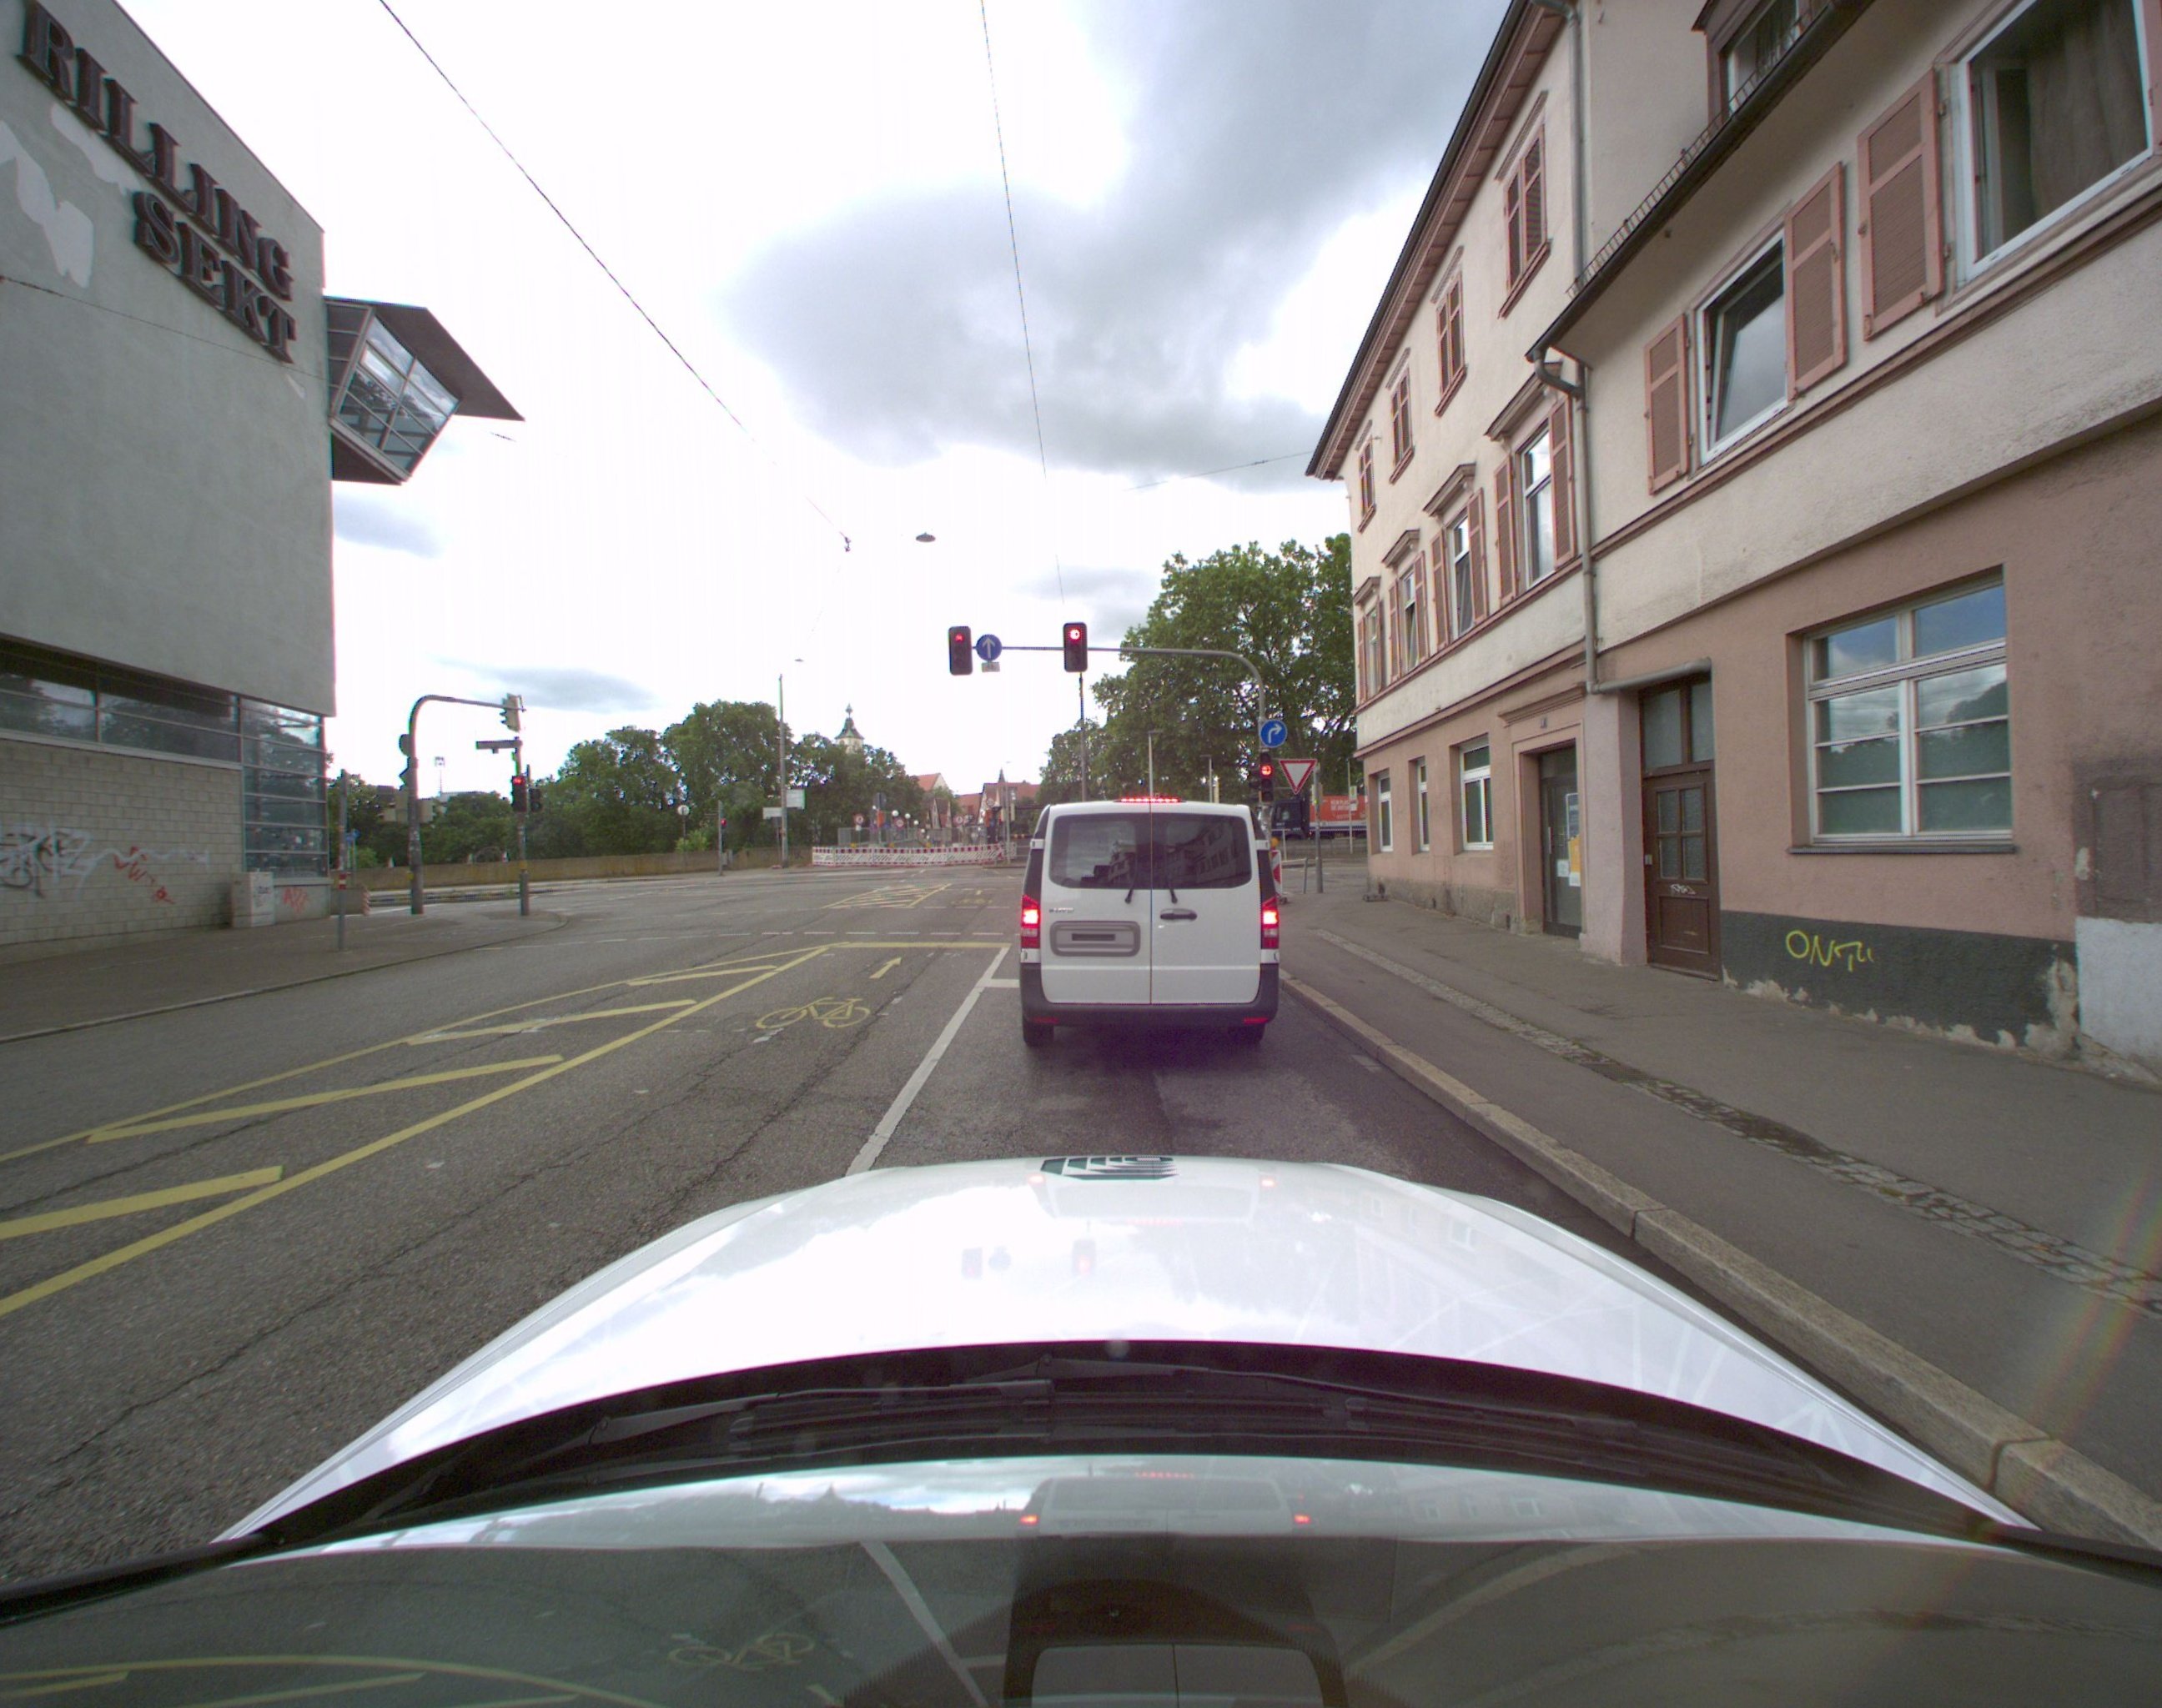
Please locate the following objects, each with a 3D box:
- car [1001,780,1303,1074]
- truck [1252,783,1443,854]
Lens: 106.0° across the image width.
[{"bbox_3d":[0.463,0.418,7.516,1.987,1.922,4.248,-1,2,-1],"label":"car"},{"bbox_3d":[14.873,-1.963,45.659,10.175,3.696,2.266,-1,0,-7],"label":"truck"}]
